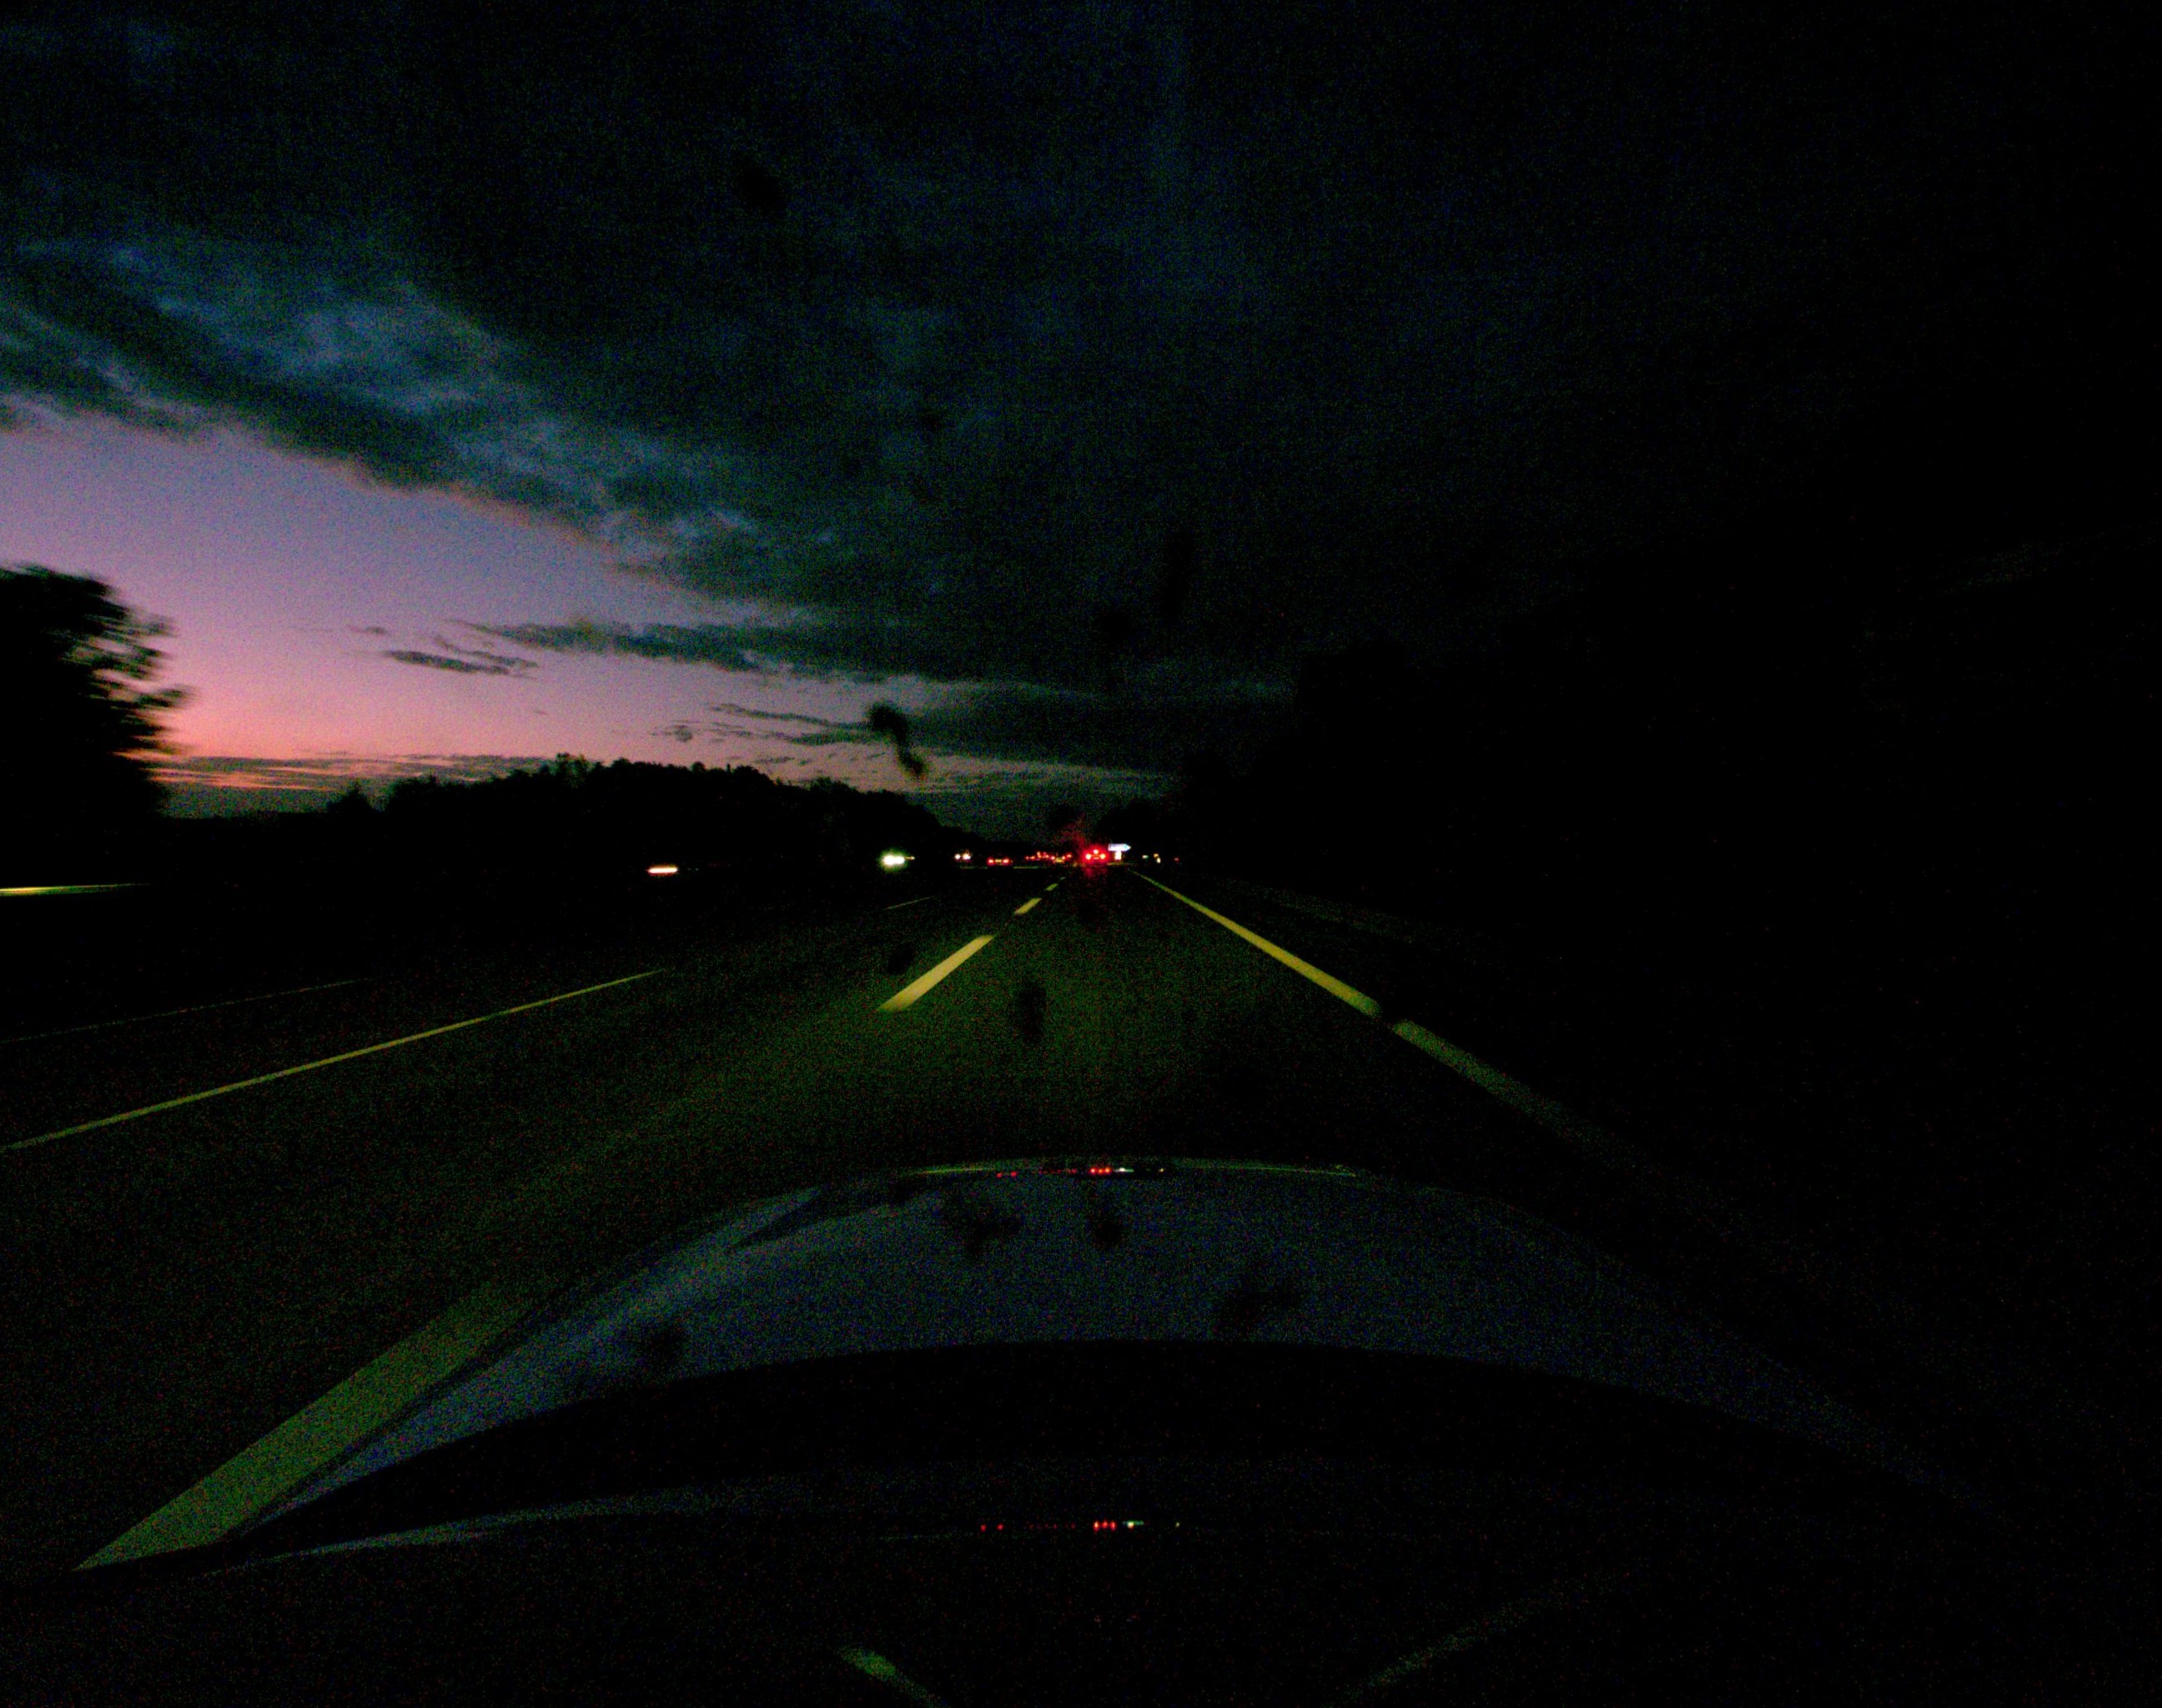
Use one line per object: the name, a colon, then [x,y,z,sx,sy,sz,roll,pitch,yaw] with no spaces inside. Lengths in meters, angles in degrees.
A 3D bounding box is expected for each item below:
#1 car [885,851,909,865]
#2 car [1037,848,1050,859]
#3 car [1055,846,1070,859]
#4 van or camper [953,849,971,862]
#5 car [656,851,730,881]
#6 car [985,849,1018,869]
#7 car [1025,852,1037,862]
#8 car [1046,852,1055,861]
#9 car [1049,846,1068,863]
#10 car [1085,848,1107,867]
car: [-22.170,0.459,98.259,1.986,1.546,4.001,-1,0,1]
car: [-6.856,-0.079,150.007,2.063,2.013,4.003,-1,0,3]
car: [-2.880,-0.257,126.292,1.986,2.013,4.003,-1,0,2]
van or camper: [-23.555,0.323,161.302,2.508,2.595,6.488,0,0,0]
car: [-22.777,0.663,47.990,1.986,1.610,4.562,-1,0,2]
car: [-6.915,0.442,71.200,1.984,1.642,4.561,-1,0,5]
car: [-10.769,0.562,175.077,2.097,2.013,4.000,-2,0,0]
car: [-7.298,0.576,194.235,1.990,2.013,3.994,-1,0,-4]
car: [-2.680,0.068,97.261,1.986,2.013,4.002,0,0,2]
car: [1.464,0.302,76.630,1.986,1.659,4.316,-1,0,1]
